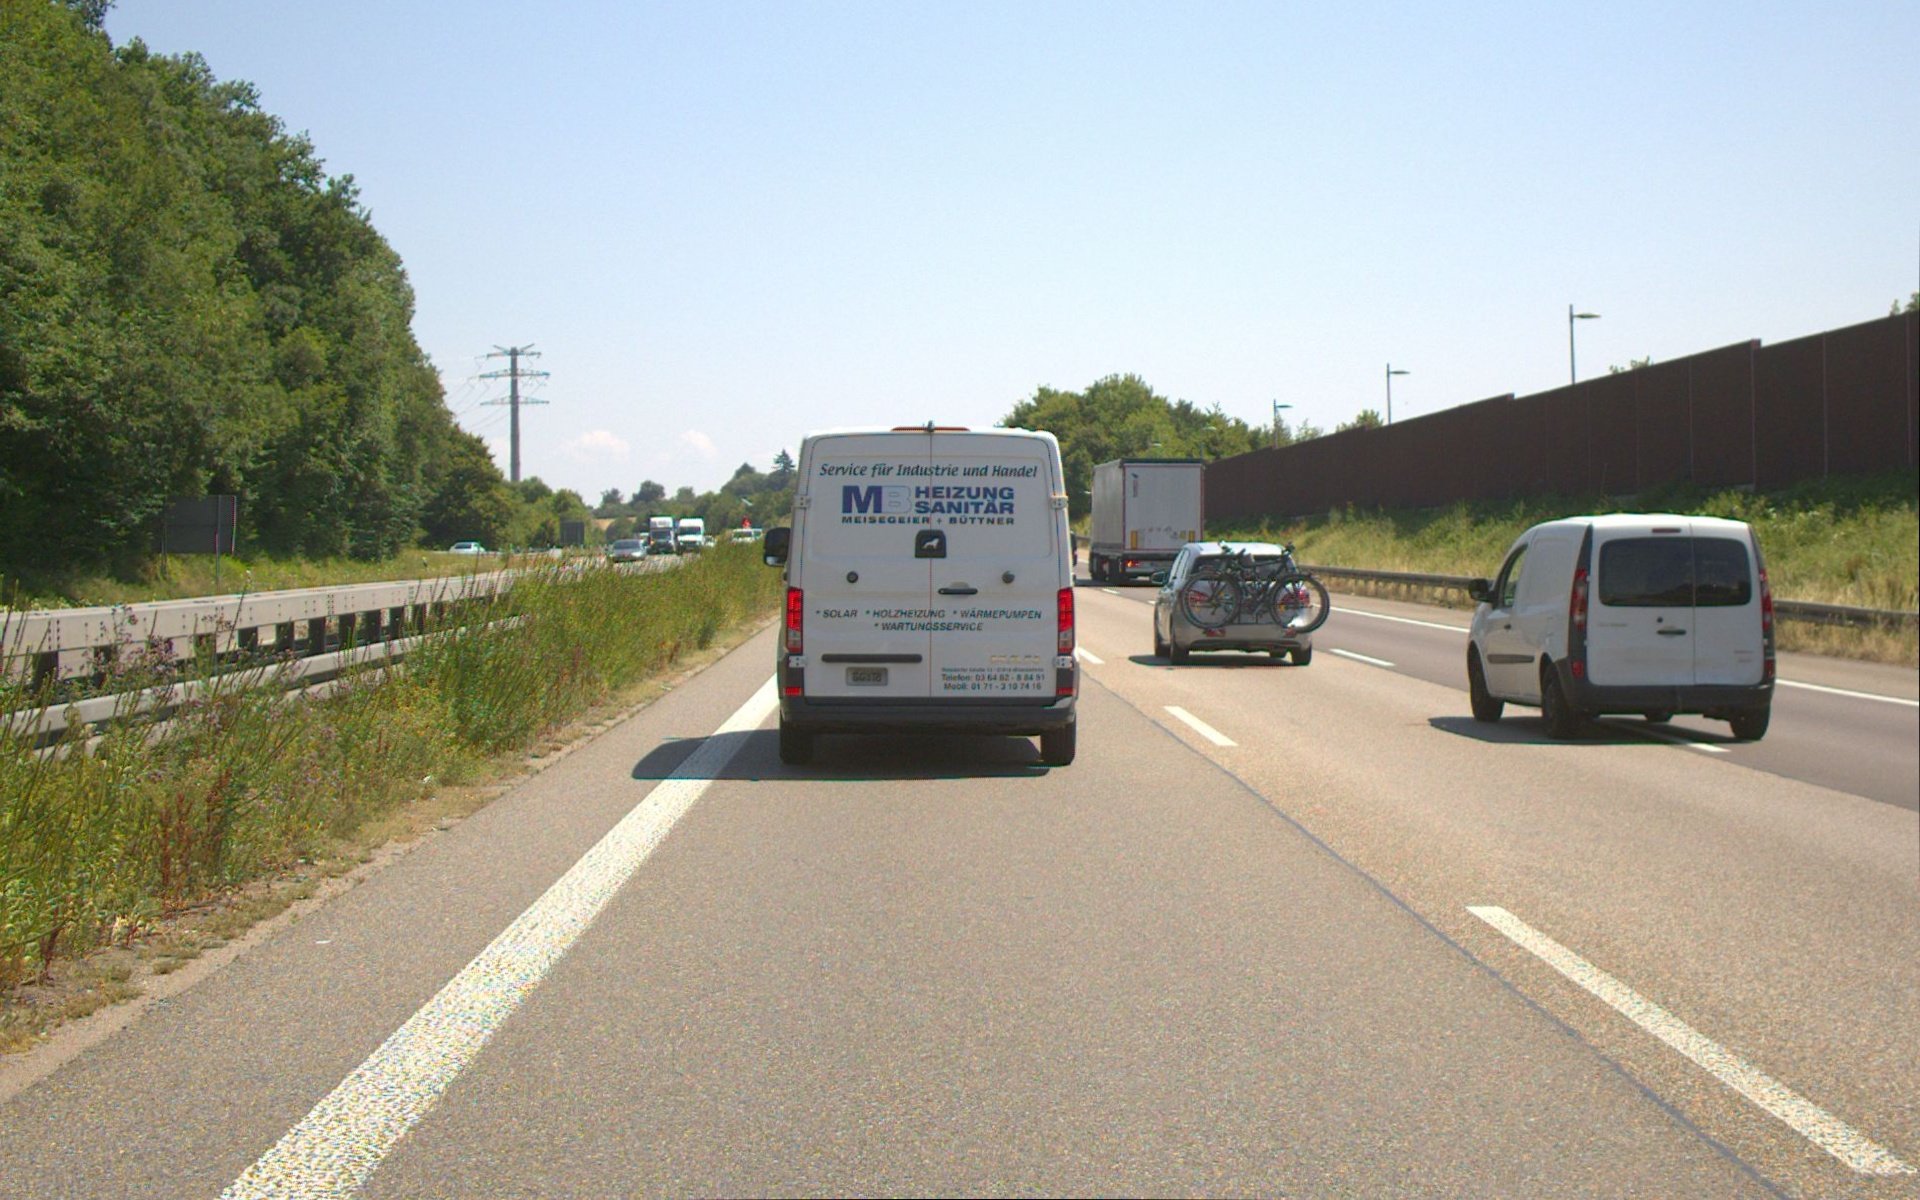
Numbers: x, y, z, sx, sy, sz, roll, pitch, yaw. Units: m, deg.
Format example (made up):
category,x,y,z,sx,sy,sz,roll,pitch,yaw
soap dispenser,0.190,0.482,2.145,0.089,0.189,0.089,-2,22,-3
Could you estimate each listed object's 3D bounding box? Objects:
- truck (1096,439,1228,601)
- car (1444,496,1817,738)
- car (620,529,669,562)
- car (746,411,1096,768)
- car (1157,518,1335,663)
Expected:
category,x,y,z,sx,sy,sz,roll,pitch,yaw
truck,6.550,-2.554,113.785,3.788,4.982,12.518,1,0,1
car,5.473,0.113,28.623,1.950,1.831,4.179,-1,0,-5
car,-15.523,-2.696,169.379,1.993,1.514,4.722,-2,1,-1
car,-0.410,-0.088,24.598,2.181,2.246,5.364,1,0,-4
car,3.583,-0.131,43.729,1.976,1.727,4.088,-1,0,1
